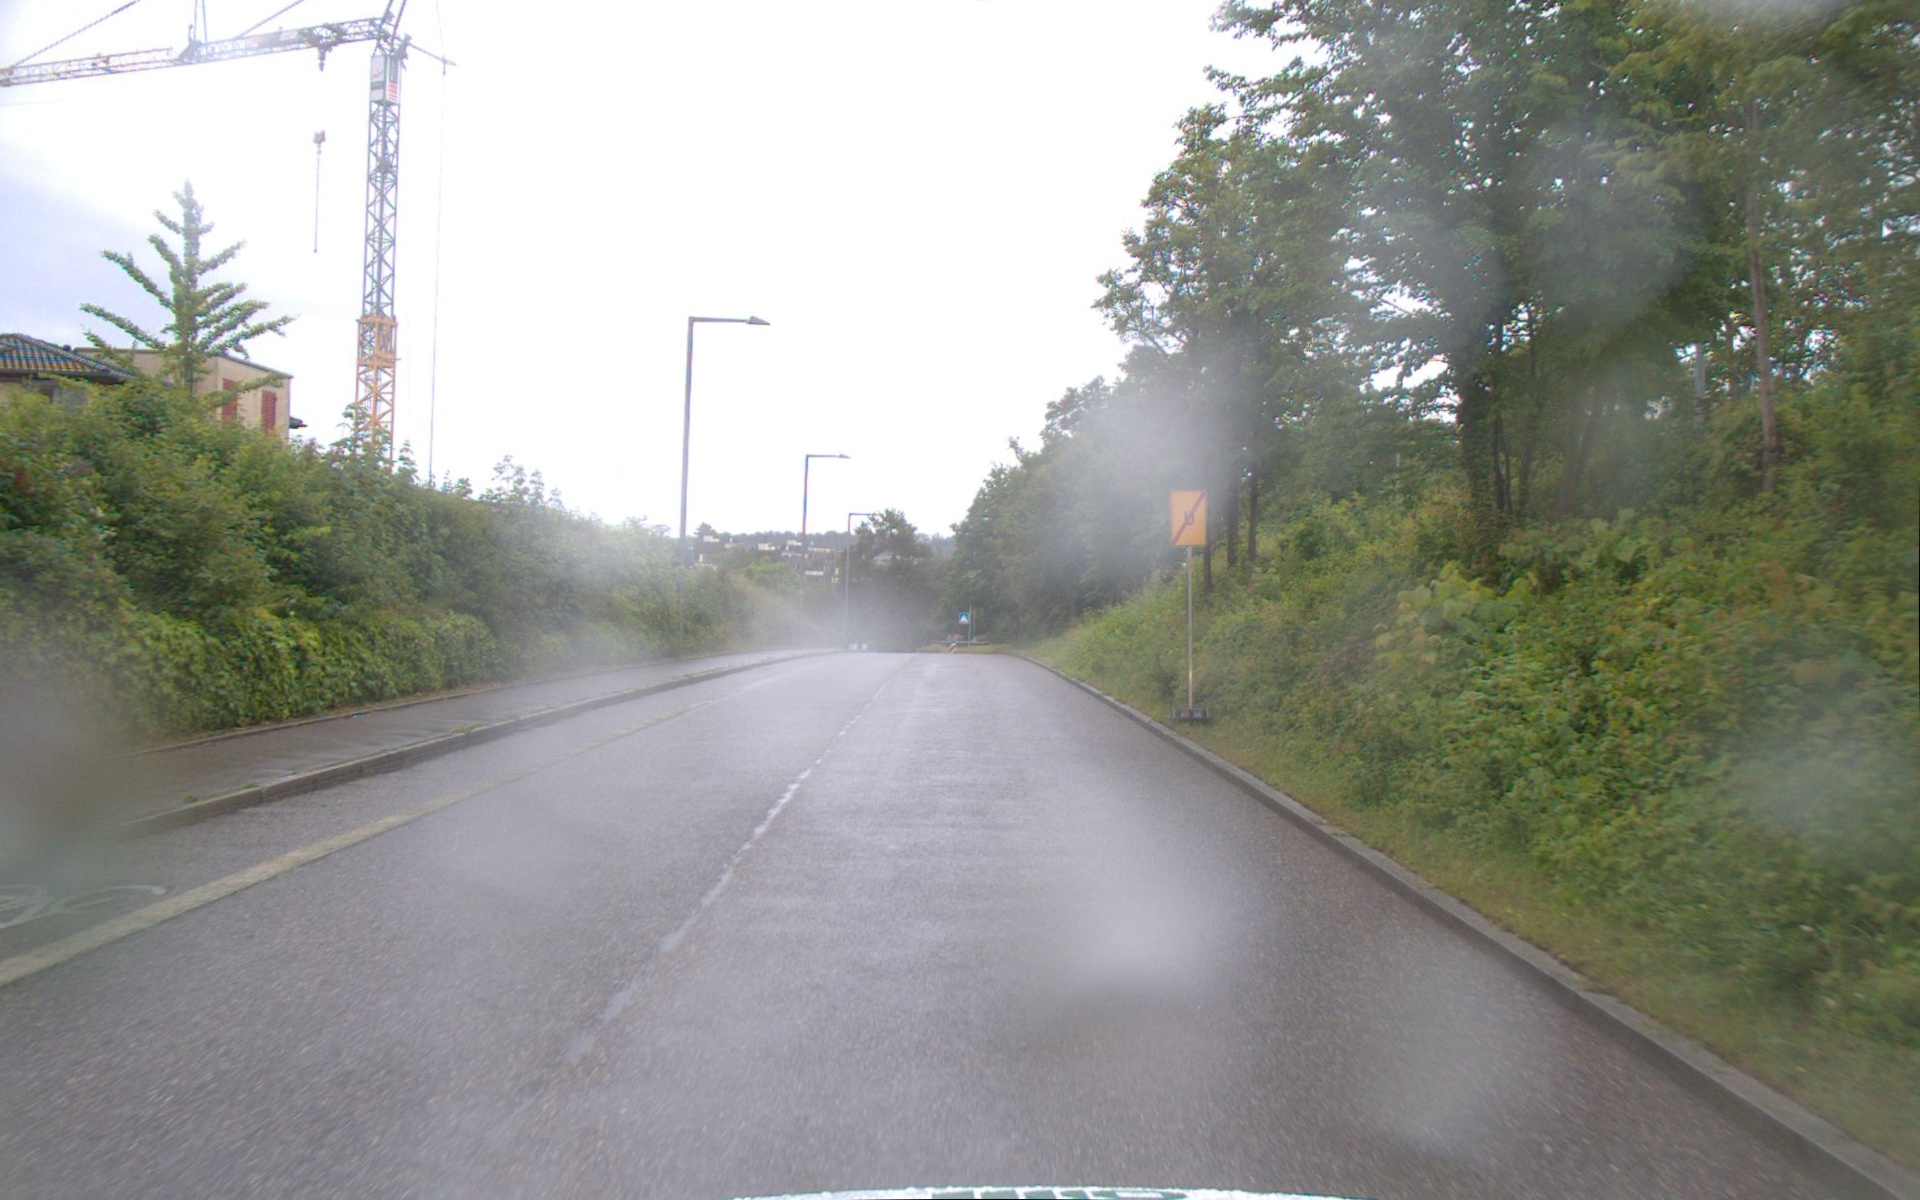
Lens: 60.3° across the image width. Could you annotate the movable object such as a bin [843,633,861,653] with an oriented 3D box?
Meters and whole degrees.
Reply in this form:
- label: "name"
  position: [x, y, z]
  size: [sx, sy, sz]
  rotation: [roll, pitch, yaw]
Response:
- label: "movable object such as a bin"
  position: [-7.858, 3.150, 120.367]
  size: [1.111, 1.363, 1.395]
  rotation: [5, -3, -10]
